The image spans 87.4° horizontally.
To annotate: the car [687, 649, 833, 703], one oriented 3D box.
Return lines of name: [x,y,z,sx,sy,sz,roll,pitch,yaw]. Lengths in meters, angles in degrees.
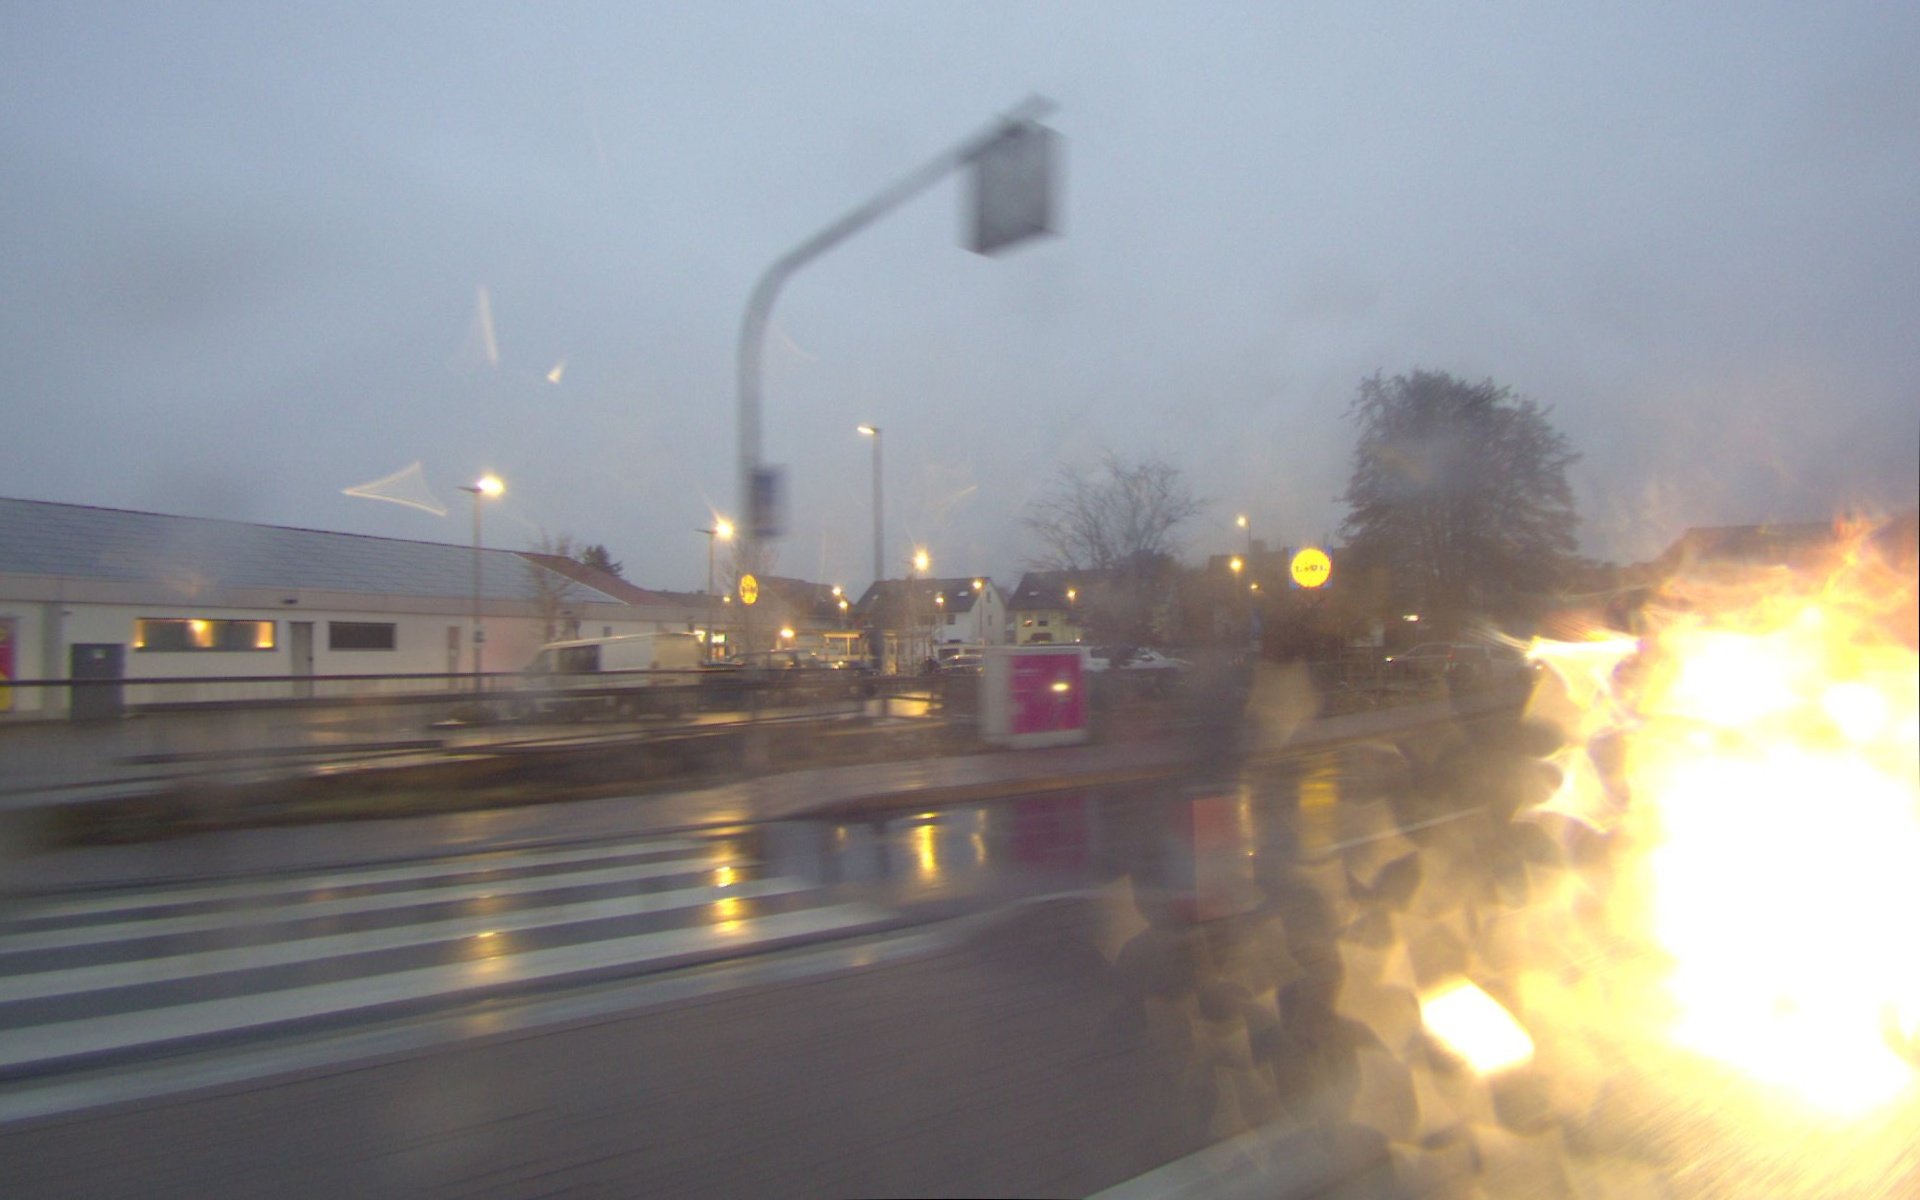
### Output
car: [-6.675,2.536,33.611,4.359,1.583,2.055,-4,-3,22]

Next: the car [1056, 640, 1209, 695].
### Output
car: [5.750,2.234,33.434,4.693,1.734,2.033,-2,-3,22]

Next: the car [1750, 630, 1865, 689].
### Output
car: [30.529,2.161,36.377,2.277,1.963,5.008,-3,-4,31]

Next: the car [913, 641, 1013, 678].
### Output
car: [0.152,2.893,49.068,4.359,1.583,2.055,-4,-3,22]

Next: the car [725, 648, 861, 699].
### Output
car: [-6.012,2.643,36.110,4.359,1.583,2.055,-4,-3,22]

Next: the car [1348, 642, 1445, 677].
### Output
car: [22.437,3.030,51.617,4.343,1.693,1.965,-2,-2,30]

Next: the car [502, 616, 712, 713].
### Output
car: [-9.476,1.735,26.980,5.103,2.312,2.218,-4,-2,22]

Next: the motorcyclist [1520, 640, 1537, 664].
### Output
motorcyclist: [34.857,3.186,61.582,0.852,1.504,0.908,-1,-3,27]

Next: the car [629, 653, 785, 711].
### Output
car: [-7.947,2.566,31.581,4.359,1.583,2.055,-4,-3,22]

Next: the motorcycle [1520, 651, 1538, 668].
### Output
motorcycle: [34.851,3.638,61.564,0.852,1.037,2.108,-1,-3,27]

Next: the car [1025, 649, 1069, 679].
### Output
car: [5.563,4.028,63.641,1.880,1.638,4.000,0,-1,19]

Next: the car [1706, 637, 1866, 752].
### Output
car: [12.552,1.339,15.219,1.644,1.505,3.979,-3,-4,41]

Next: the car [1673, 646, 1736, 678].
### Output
car: [34.700,2.874,46.899,1.815,1.349,3.931,-3,-4,29]

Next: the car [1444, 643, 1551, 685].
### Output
car: [24.388,2.880,45.745,4.160,1.721,1.898,1,-2,26]

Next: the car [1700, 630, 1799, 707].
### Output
car: [19.786,1.671,25.315,1.749,1.746,4.406,-2,-3,36]

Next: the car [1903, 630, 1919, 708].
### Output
car: [21.357,1.459,21.093,1.835,1.669,3.984,-2,-3,38]
